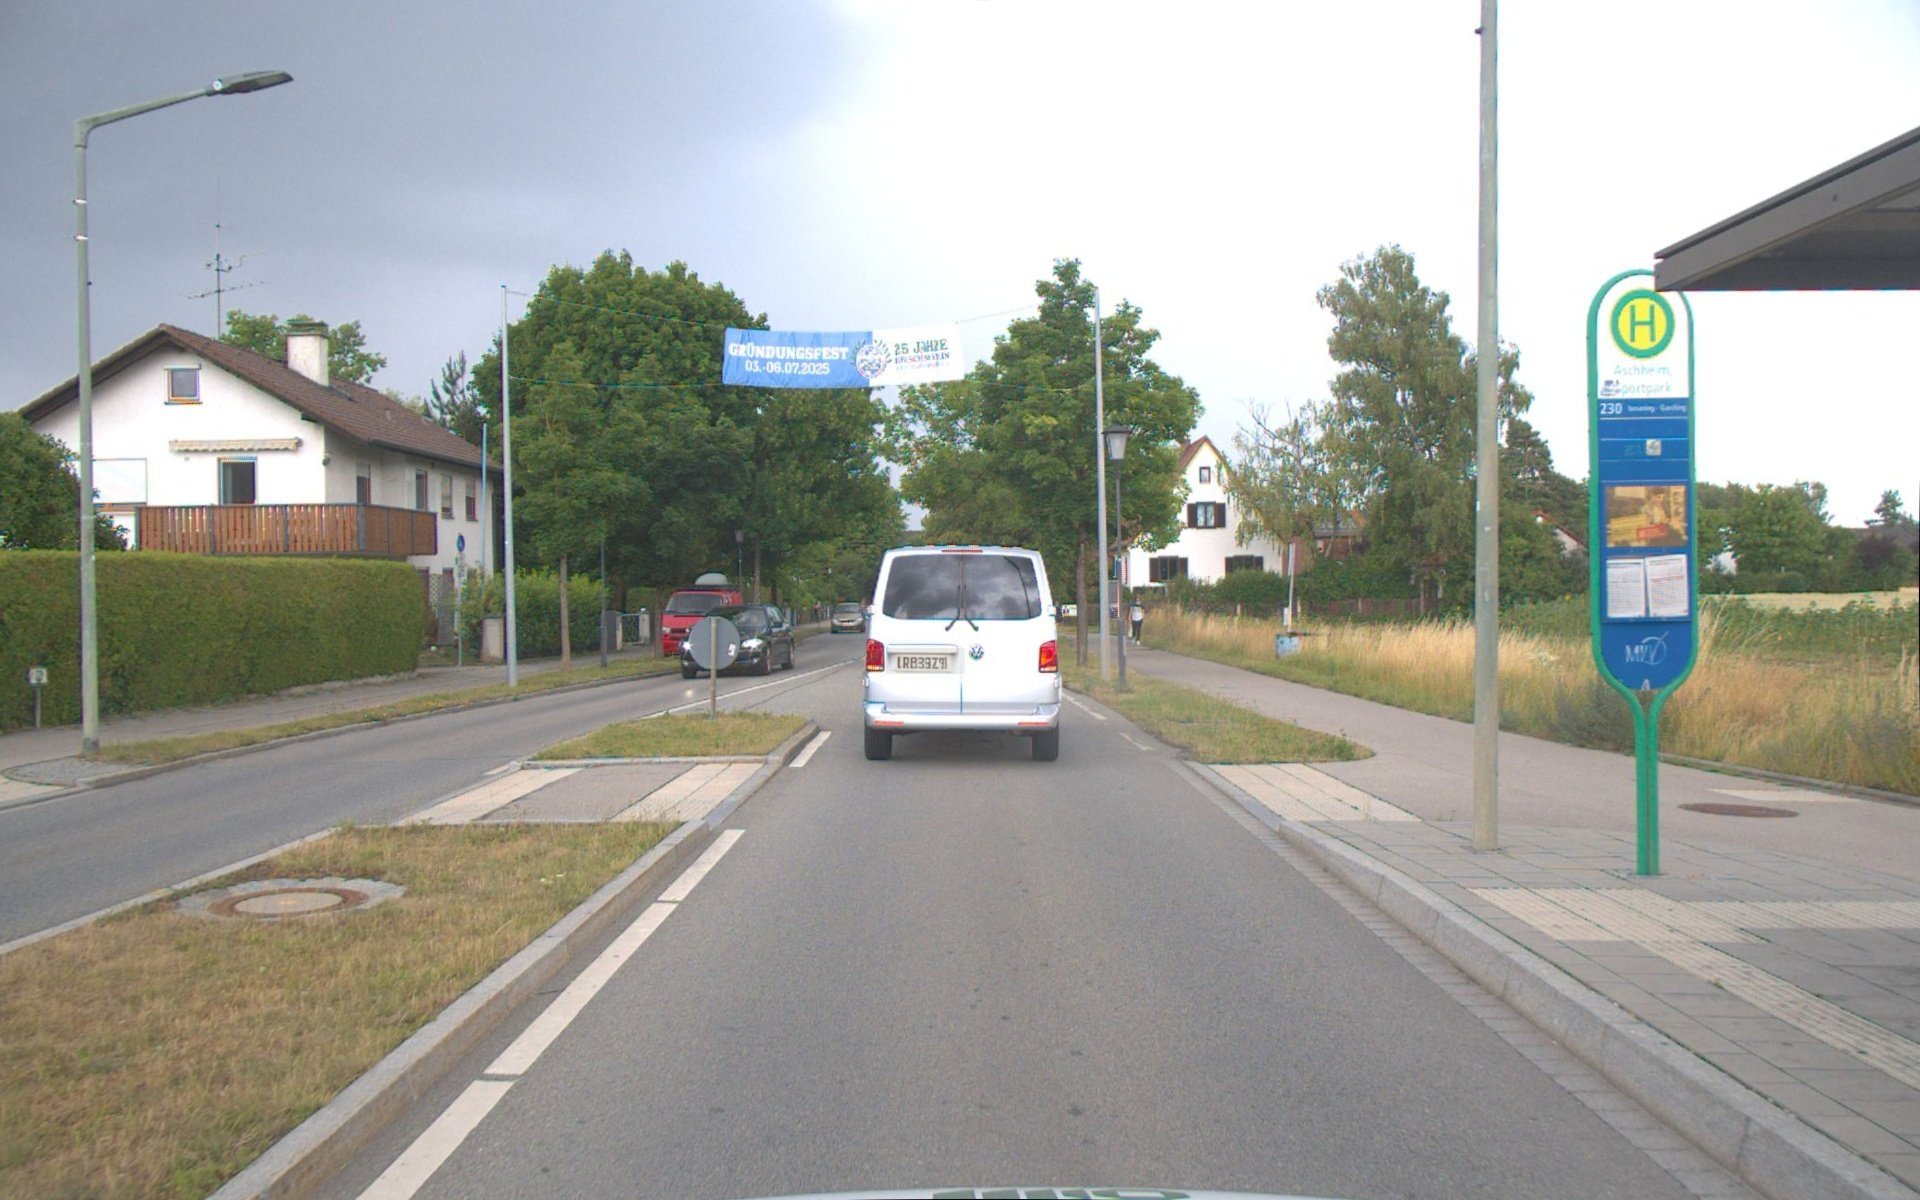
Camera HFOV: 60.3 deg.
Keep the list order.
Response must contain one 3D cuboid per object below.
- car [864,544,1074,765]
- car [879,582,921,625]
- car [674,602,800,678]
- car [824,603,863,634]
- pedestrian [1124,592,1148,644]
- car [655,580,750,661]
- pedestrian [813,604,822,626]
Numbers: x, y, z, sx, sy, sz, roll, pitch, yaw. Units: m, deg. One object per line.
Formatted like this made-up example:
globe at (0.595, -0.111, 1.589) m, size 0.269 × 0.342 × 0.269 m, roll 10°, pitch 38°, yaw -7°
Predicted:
car at (0.037, 0.493, 16.569) m, size 1.849 × 1.945 × 3.999 m, roll 0°, pitch -1°, yaw -1°
car at (-2.961, 0.177, 81.986) m, size 1.953 × 2.049 × 3.999 m, roll 1°, pitch -1°, yaw -1°
car at (-4.715, 0.815, 35.575) m, size 1.880 × 1.479 × 4.498 m, roll -1°, pitch 0°, yaw 3°
car at (-6.272, 0.981, 89.268) m, size 1.671 × 1.559 × 3.508 m, roll -2°, pitch 0°, yaw 2°
pedestrian at (6.092, 0.612, 57.269) m, size 0.820 × 1.785 × 0.870 m, roll 0°, pitch 0°, yaw 4°
car at (-7.032, 0.531, 45.565) m, size 1.792 × 2.066 × 5.046 m, roll 1°, pitch 0°, yaw 0°
pedestrian at (-10.248, 1.055, 118.748) m, size 0.610 × 1.576 × 0.522 m, roll 1°, pitch -1°, yaw -5°
